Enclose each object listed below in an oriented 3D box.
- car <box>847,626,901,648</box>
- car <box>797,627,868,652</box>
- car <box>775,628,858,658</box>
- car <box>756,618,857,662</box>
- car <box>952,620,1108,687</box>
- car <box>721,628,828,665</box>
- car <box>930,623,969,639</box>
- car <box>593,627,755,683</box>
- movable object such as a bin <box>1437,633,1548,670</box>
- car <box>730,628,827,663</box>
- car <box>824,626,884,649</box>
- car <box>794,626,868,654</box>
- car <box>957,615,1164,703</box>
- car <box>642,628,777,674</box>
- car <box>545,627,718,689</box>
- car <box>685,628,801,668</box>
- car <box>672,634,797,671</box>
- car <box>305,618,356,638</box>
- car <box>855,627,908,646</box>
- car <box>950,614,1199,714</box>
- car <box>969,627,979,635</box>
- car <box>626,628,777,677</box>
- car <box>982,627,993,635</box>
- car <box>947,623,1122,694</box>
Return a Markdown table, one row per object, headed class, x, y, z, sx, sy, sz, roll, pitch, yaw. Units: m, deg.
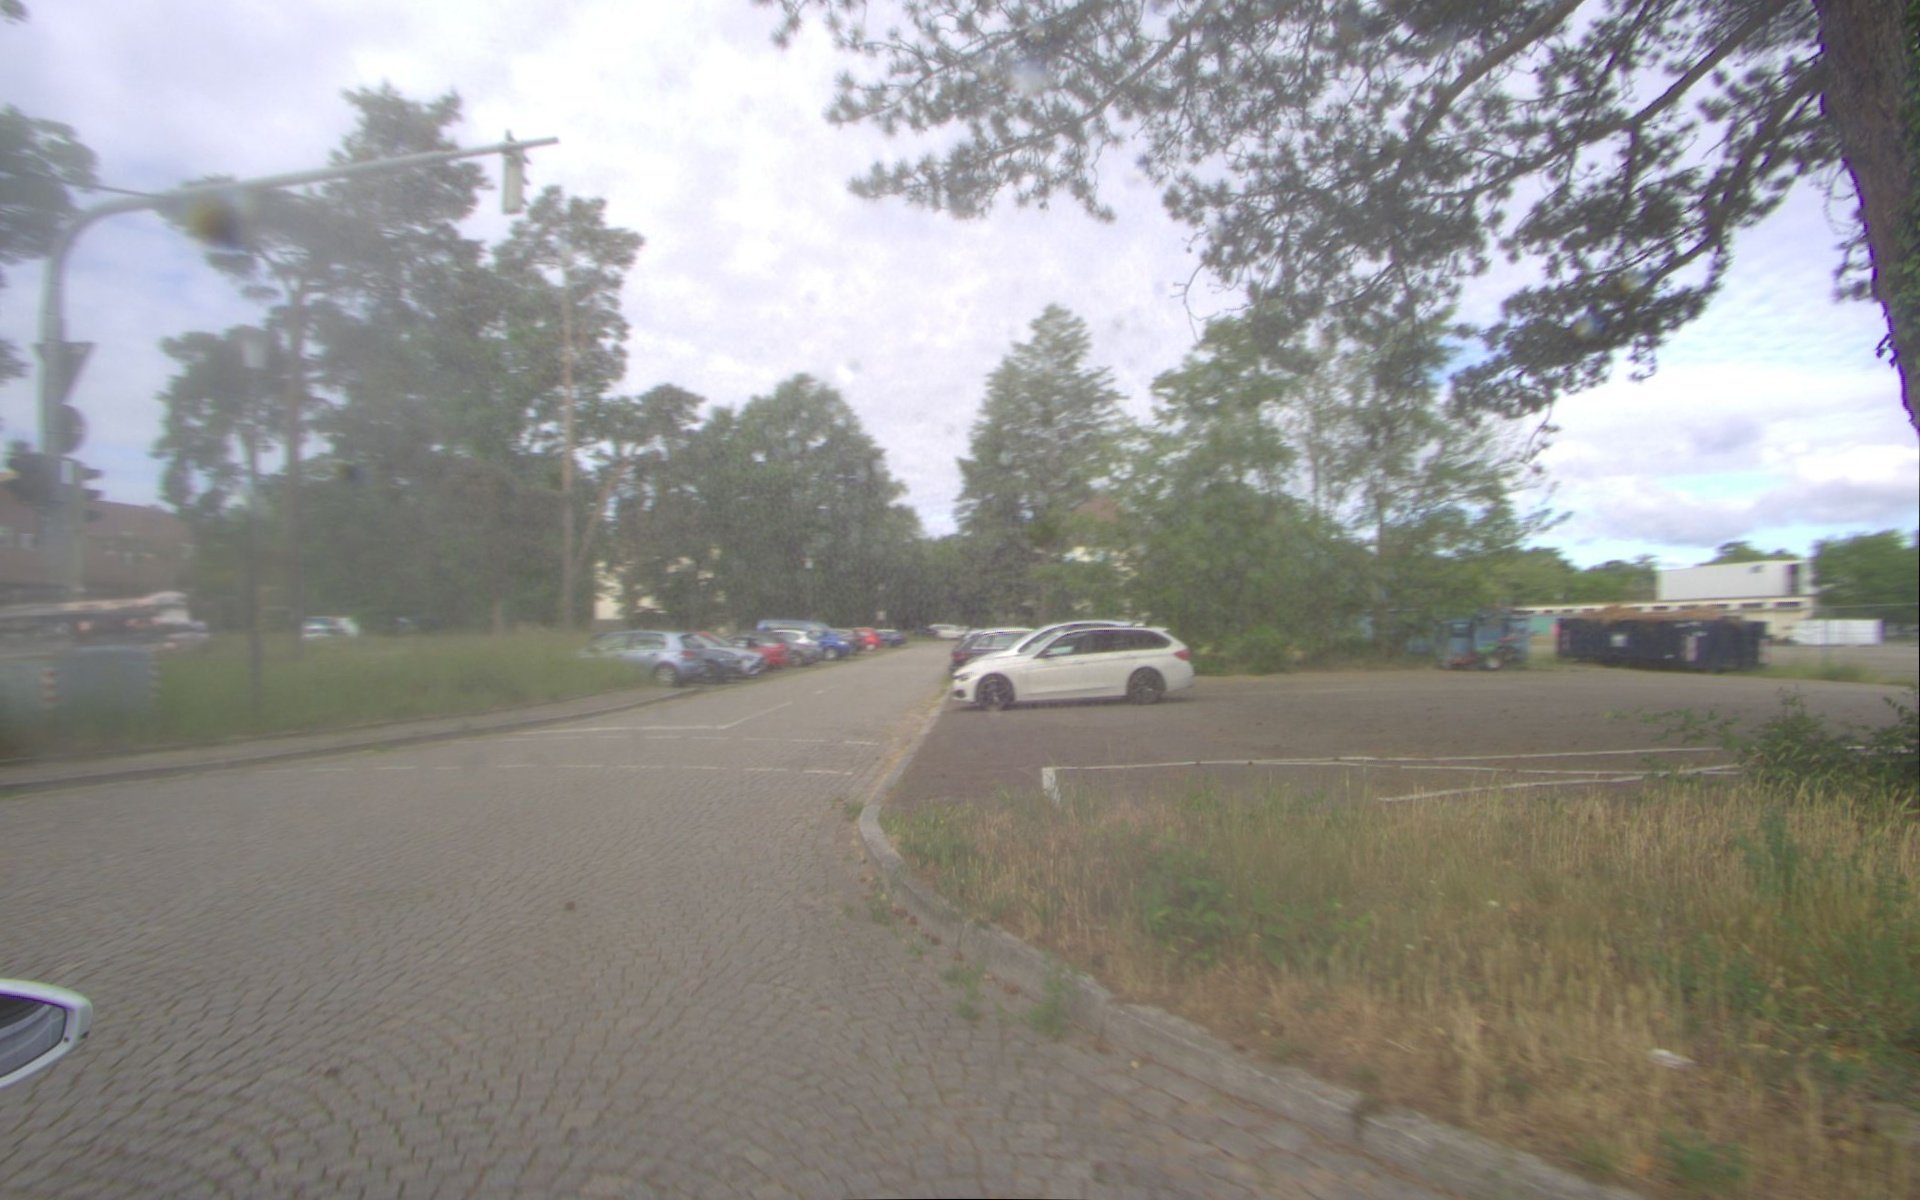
| class | x | y | z | sx | sy | sz | roll | pitch | yaw |
| --- | --- | --- | --- | --- | --- | --- | --- | --- | --- |
| car | -6.822 | 2.920 | 79.693 | 4.159 | 1.597 | 1.887 | 1 | -1 | 1 |
| car | -7.828 | 2.432 | 61.827 | 4.098 | 1.530 | 1.908 | 0 | -1 | 1 |
| car | -7.529 | 2.242 | 52.778 | 4.098 | 1.530 | 1.782 | 0 | -1 | 0 |
| car | -7.654 | 1.987 | 50.193 | 4.704 | 2.149 | 2.116 | 0 | -1 | 1 |
| car | 1.817 | 1.424 | 27.027 | 4.007 | 1.534 | 1.805 | -3 | -1 | 0 |
| car | -7.745 | 1.942 | 42.028 | 4.098 | 1.511 | 1.865 | 0 | -1 | 3 |
| car | -1.391 | 4.117 | 133.069 | 5.149 | 2.196 | 2.001 | 0 | -1 | 0 |
| car | -8.224 | 1.560 | 29.069 | 4.181 | 1.568 | 1.936 | 0 | -1 | -2 |
| movable object such as a bin | 14.651 | 1.404 | 27.594 | 2.638 | 1.001 | 0.853 | 0 | -1 | -1 |
| car | -8.106 | 2.038 | 44.911 | 4.001 | 1.517 | 1.846 | 0 | -1 | 3 |
| car | -7.332 | 2.600 | 69.446 | 3.989 | 1.545 | 1.905 | 0 | -1 | 0 |
| car | -7.575 | 2.334 | 59.077 | 4.098 | 1.643 | 1.987 | 0 | -1 | -1 |
| car | 2.077 | 1.239 | 21.588 | 4.171 | 1.617 | 1.886 | -3 | -1 | -2 |
| car | -8.472 | 1.719 | 34.121 | 4.098 | 1.495 | 1.865 | 0 | -1 | 1 |
| car | -8.561 | 1.490 | 26.348 | 3.922 | 1.563 | 1.906 | 0 | -1 | 1 |
| car | -8.451 | 1.858 | 39.152 | 4.098 | 1.501 | 1.846 | 0 | -1 | 3 |
| car | -8.167 | 1.896 | 36.484 | 4.098 | 1.283 | 1.831 | 0 | -1 | 3 |
| car | -68.284 | 3.065 | 108.681 | 1.961 | 2.039 | 5.232 | 0 | -2 | 4 |
| car | -6.590 | 3.102 | 84.399 | 4.233 | 1.480 | 1.975 | 1 | -1 | 3 |
| car | 2.064 | 1.175 | 19.035 | 4.420 | 1.586 | 1.906 | -3 | -1 | -1 |
| car | 2.812 | 6.190 | 198.955 | 2.084 | 1.541 | 4.002 | 0 | -2 | 1 |
| car | -8.131 | 1.645 | 31.812 | 4.303 | 1.527 | 1.936 | 0 | -1 | 0 |
| car | 5.453 | 6.184 | 199.159 | 1.919 | 1.541 | 4.002 | 0 | -2 | 0 |
| car | 1.732 | 1.389 | 24.318 | 4.007 | 1.471 | 1.886 | -3 | -1 | 0 |
